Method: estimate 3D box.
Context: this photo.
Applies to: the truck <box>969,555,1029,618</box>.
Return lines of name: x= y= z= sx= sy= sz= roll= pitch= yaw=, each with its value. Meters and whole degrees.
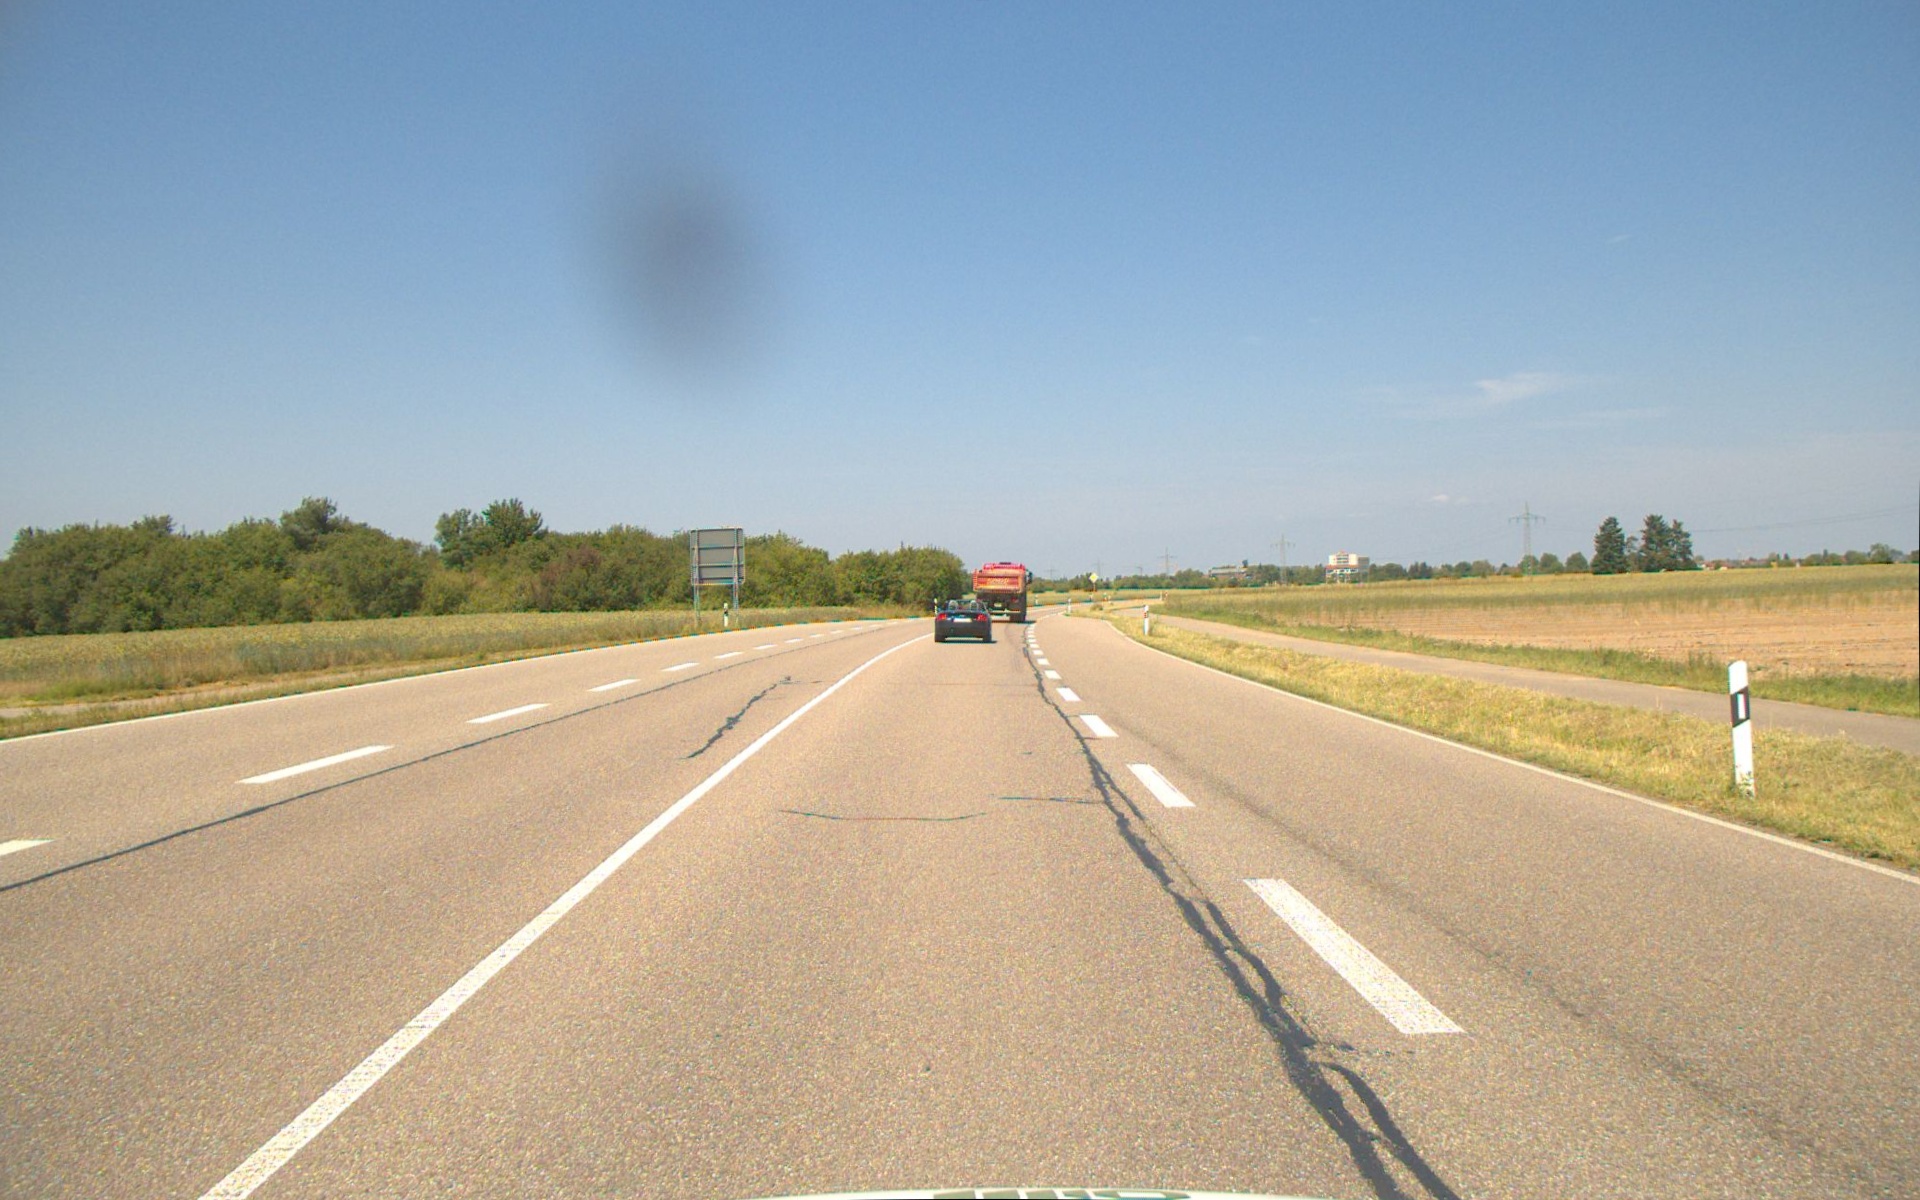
truck: x=2.103 y=-0.671 z=87.246 sx=2.876 sy=3.143 sz=7.199 roll=0 pitch=0 yaw=3

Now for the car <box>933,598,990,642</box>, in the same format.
car: x=0.014 y=0.605 z=51.587 sx=1.708 sy=1.302 sz=4.000 roll=0 pitch=0 yaw=-1
